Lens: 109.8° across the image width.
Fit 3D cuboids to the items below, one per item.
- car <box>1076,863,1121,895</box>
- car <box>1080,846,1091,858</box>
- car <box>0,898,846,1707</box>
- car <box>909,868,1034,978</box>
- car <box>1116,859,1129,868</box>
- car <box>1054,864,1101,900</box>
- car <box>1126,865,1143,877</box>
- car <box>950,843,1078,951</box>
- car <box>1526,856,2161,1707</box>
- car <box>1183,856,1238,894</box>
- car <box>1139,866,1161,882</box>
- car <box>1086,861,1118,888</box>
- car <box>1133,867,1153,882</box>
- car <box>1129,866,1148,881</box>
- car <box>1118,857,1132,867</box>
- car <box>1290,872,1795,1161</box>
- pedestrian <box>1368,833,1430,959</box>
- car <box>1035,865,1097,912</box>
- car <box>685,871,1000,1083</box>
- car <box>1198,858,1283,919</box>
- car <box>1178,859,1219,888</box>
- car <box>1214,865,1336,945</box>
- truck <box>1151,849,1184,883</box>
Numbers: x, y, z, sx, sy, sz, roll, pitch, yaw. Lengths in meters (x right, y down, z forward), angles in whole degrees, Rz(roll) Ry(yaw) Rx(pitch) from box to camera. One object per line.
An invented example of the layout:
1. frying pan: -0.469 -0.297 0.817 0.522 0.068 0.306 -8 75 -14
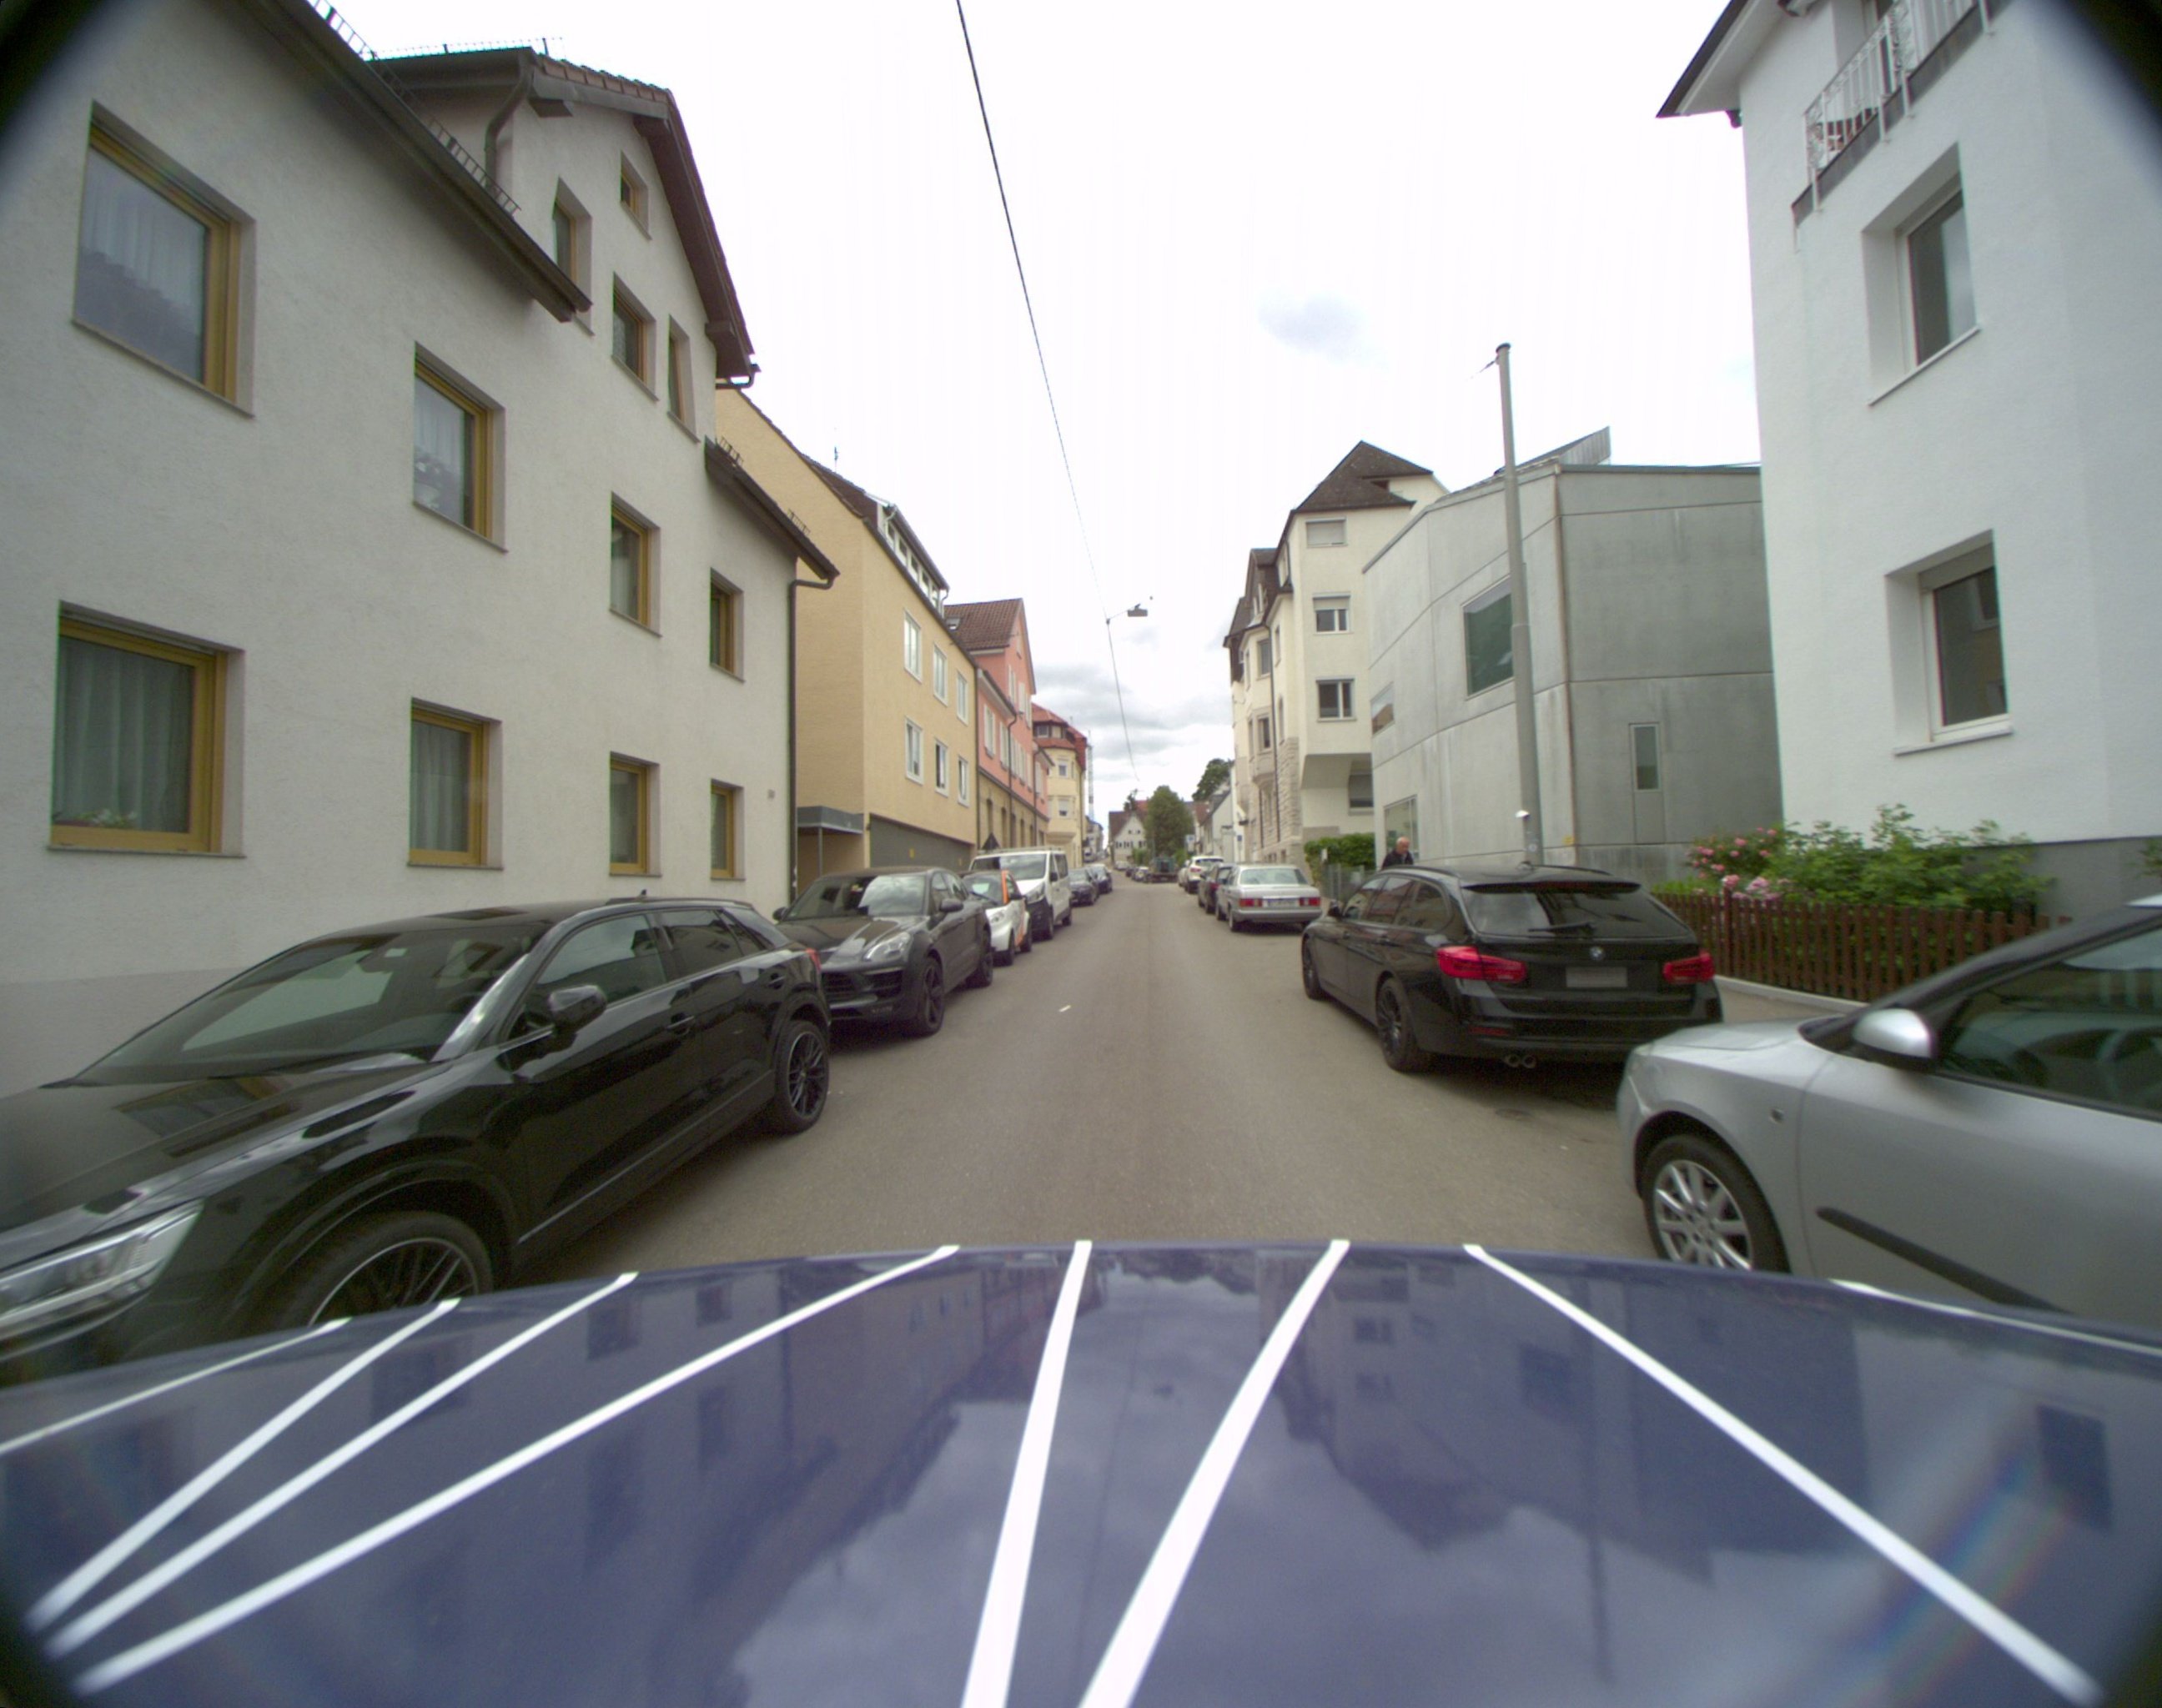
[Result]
1. car: 0.925 1.190 37.781 1.856 1.395 4.294 -3 -1 5
2. car: 0.866 -0.373 165.728 2.193 2.630 5.825 1 0 -1
3. car: -2.641 1.086 3.088 1.719 1.556 4.075 -3 -1 5
4. car: -1.748 1.077 12.933 1.490 1.587 2.792 -3 -1 4
5. car: 6.905 1.576 127.775 1.855 1.441 3.944 1 1 -2
6. car: -0.097 1.185 33.475 1.857 1.395 3.968 -3 -1 2
7. car: 7.284 2.298 103.322 1.855 1.640 3.945 0 0 -2
8. car: -1.330 0.883 17.735 1.909 2.017 5.736 -3 -1 5
9. car: 2.746 0.815 1.096 1.849 1.621 4.288 -1 -1 3
10. car: 5.500 0.878 32.768 1.849 1.506 4.242 -1 -1 3
11. car: 6.758 1.975 74.497 1.855 1.454 3.947 0 -2 0
12. car: 1.251 1.169 44.031 1.671 1.470 3.627 -1 -1 4
13. car: 6.912 2.320 85.133 1.855 1.640 3.947 0 -2 0
14. car: 6.942 2.343 91.496 1.855 1.640 3.945 0 0 -2
15. car: 7.074 1.265 121.815 1.855 1.441 3.945 0 0 -2
16. car: 3.129 0.940 6.422 1.849 1.449 4.506 0 0 5
17. pedestrian: 4.978 0.635 11.869 0.817 1.873 0.849 -1 0 27
18. car: -0.464 1.221 28.576 1.856 1.395 4.576 -4 0 4
19. car: -2.162 1.041 8.337 1.717 1.587 4.500 -3 -1 4
20. car: 4.541 0.925 22.256 1.900 1.518 4.472 -1 0 5
21. car: 6.172 0.993 40.249 1.703 1.405 4.242 -1 -1 3
22. car: 4.140 1.011 17.034 1.849 1.404 5.063 -1 0 5
23. truck: 6.907 1.070 61.374 2.315 2.535 6.292 0 -3 4
